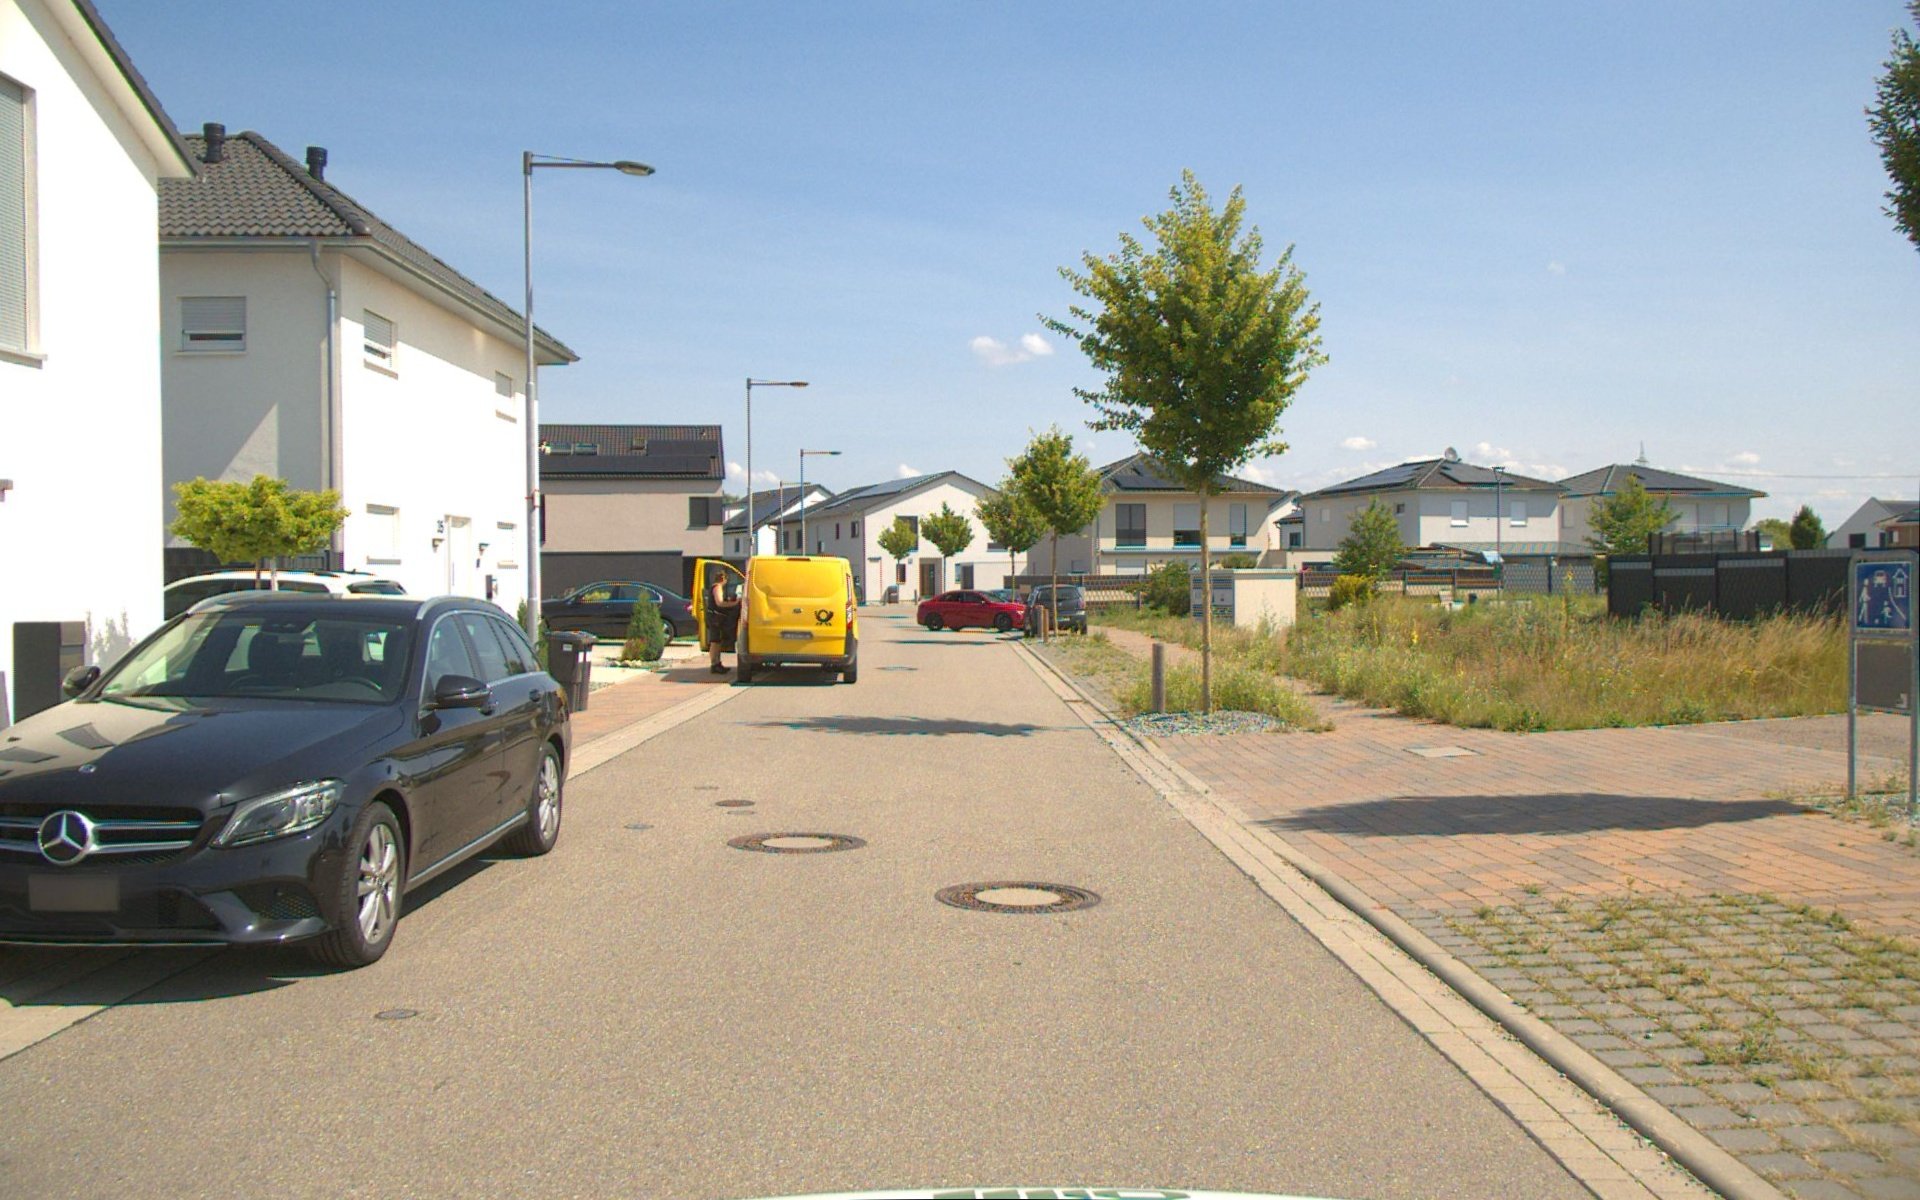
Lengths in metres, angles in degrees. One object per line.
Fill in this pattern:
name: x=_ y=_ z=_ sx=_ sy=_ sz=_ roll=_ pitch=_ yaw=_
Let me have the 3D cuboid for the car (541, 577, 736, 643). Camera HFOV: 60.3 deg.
car: x=-7.447 y=0.224 z=38.265 sx=4.318 sy=1.477 sz=1.743 roll=0 pitch=0 yaw=-14

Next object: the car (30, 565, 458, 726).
car: x=-7.709 y=0.467 z=18.029 sx=3.871 sy=1.647 sz=1.795 roll=0 pitch=0 yaw=4

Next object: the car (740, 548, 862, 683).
car: x=-2.660 y=0.228 z=28.037 sx=1.847 sy=2.049 sz=4.836 roll=1 pitch=0 yaw=-5

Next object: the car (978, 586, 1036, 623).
car: x=1.850 y=0.160 z=66.802 sx=1.721 sy=1.387 sz=4.570 roll=1 pitch=0 yaw=-6

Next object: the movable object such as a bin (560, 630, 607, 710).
movable object such as a bin: x=-4.595 y=0.844 z=20.195 sx=0.476 sy=0.942 sz=0.530 roll=0 pitch=0 yaw=-3

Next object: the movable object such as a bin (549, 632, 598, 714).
movable object such as a bin: x=-4.587 y=0.860 z=19.643 sx=0.476 sy=0.942 sz=0.530 roll=0 pitch=0 yaw=-3

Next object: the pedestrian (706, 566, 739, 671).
pedestrian: x=-4.048 y=0.317 z=28.243 sx=0.521 sy=1.768 sz=0.569 roll=1 pitch=0 yaw=-7

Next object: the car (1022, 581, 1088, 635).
car: x=2.694 y=0.195 z=47.736 sx=1.566 sy=1.501 sz=3.673 roll=0 pitch=1 yaw=-2

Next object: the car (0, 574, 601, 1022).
car: x=-3.051 y=0.666 z=7.958 sx=1.656 sy=1.498 sz=4.444 roll=2 pitch=0 yaw=0

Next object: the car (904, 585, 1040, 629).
car: x=0.391 y=0.226 z=57.375 sx=4.419 sy=1.463 sz=1.766 roll=1 pitch=0 yaw=29
